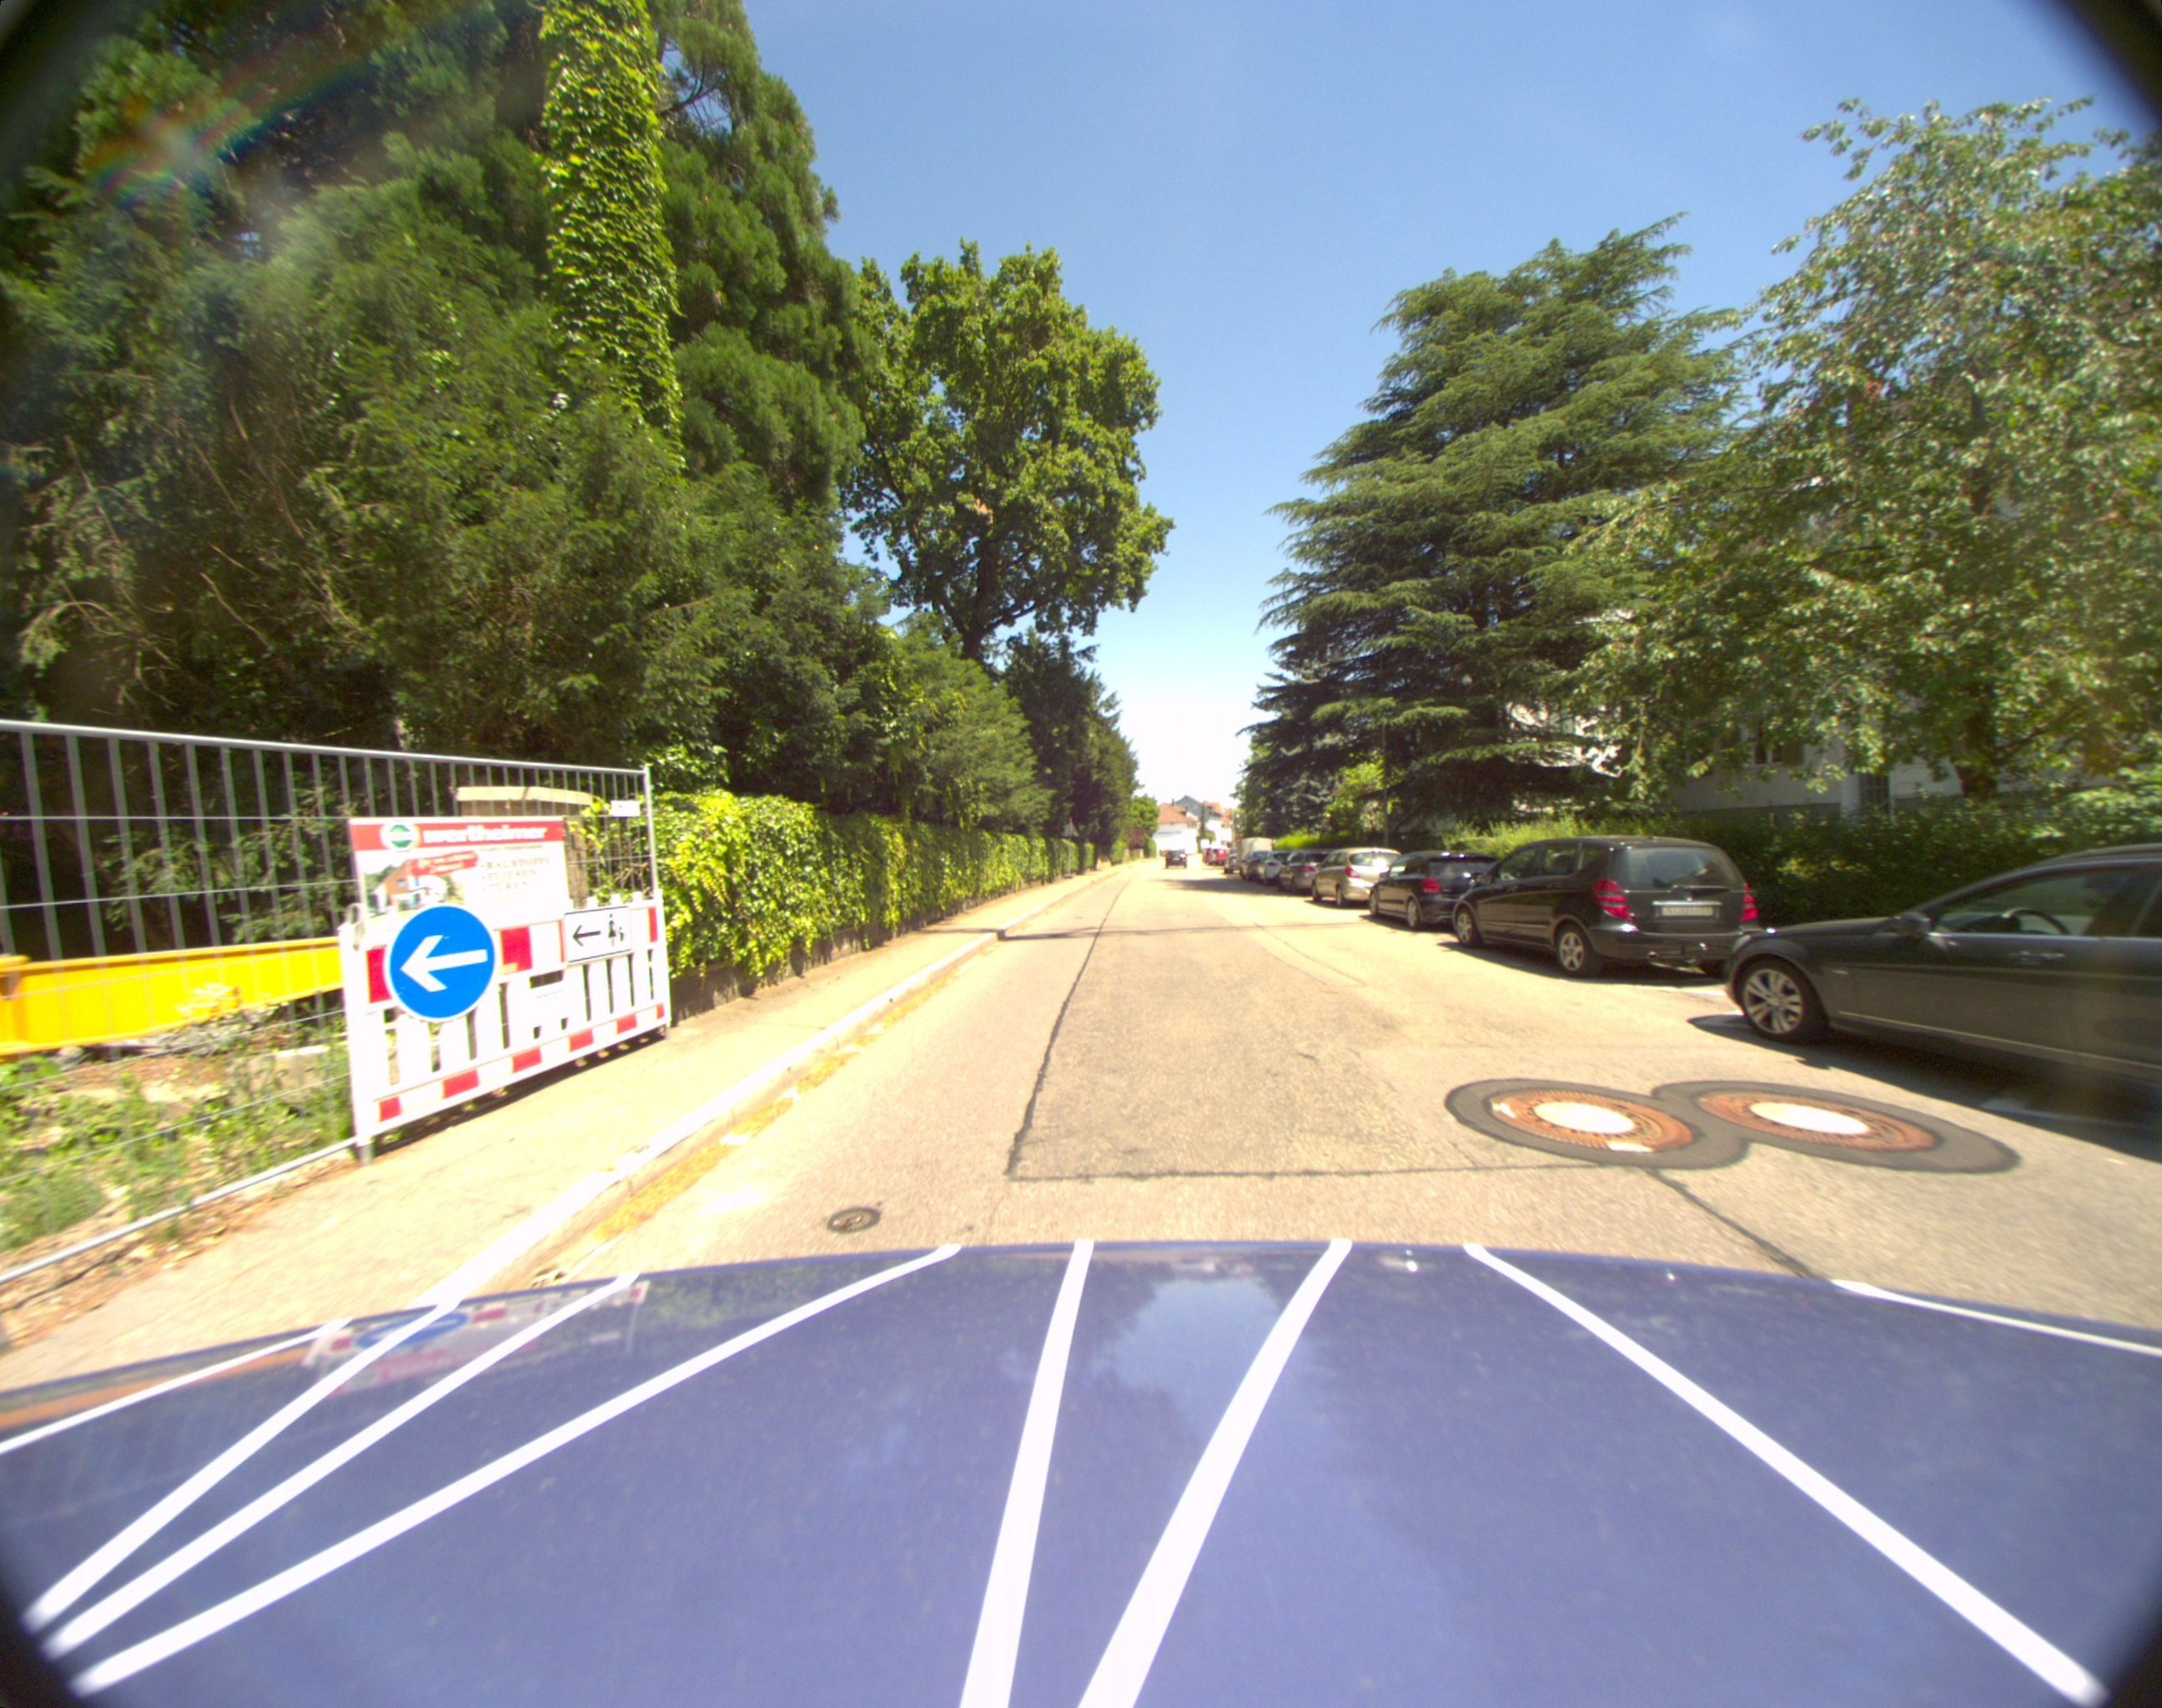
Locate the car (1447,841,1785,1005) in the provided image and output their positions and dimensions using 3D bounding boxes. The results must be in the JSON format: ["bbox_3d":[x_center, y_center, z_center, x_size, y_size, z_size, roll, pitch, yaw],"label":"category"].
[{"bbox_3d":[6.250,0.670,9.494,1.685,1.630,3.790,-1,1,3],"label":"car"}]

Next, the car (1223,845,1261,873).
[{"bbox_3d":[9.701,0.240,46.160,1.772,1.610,4.550,0,1,6],"label":"car"}]

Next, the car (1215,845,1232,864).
[{"bbox_3d":[12.265,0.044,65.322,1.308,1.568,2.322,-1,1,8],"label":"car"}]

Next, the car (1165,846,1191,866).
[{"bbox_3d":[7.953,0.142,62.607,1.903,1.566,4.142,-1,1,4],"label":"car"}]

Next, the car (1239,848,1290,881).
[{"bbox_3d":[8.659,0.433,36.139,1.800,1.434,4.478,-1,1,6],"label":"car"}]

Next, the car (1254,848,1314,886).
[{"bbox_3d":[8.278,0.496,31.291,1.800,1.434,3.897,-1,1,6],"label":"car"}]

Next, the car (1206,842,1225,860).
[{"bbox_3d":[14.121,-0.334,79.949,1.892,1.749,3.614,0,1,8],"label":"car"}]

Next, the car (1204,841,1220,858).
[{"bbox_3d":[16.098,-0.567,93.585,1.892,2.103,4.001,0,1,8],"label":"car"}]

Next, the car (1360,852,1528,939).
[{"bbox_3d":[6.680,0.690,14.442,1.684,1.393,3.791,-1,1,6],"label":"car"}]

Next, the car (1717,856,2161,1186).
[{"bbox_3d":[5.830,0.787,3.796,1.685,1.467,4.330,-1,1,0],"label":"car"}]

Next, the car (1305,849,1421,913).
[{"bbox_3d":[7.098,0.611,19.525,1.800,1.434,3.785,-1,1,4],"label":"car"}]

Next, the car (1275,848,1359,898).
[{"bbox_3d":[7.572,0.549,24.764,1.800,1.434,4.273,-1,1,6],"label":"car"}]

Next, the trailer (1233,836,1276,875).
[{"bbox_3d":[9.489,0.063,41.895,1.818,2.021,4.001,0,1,5],"label":"trailer"}]

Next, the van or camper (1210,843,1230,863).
[{"bbox_3d":[12.824,-0.142,70.287,1.582,1.760,3.890,-1,1,8],"label":"van or camper"}]
